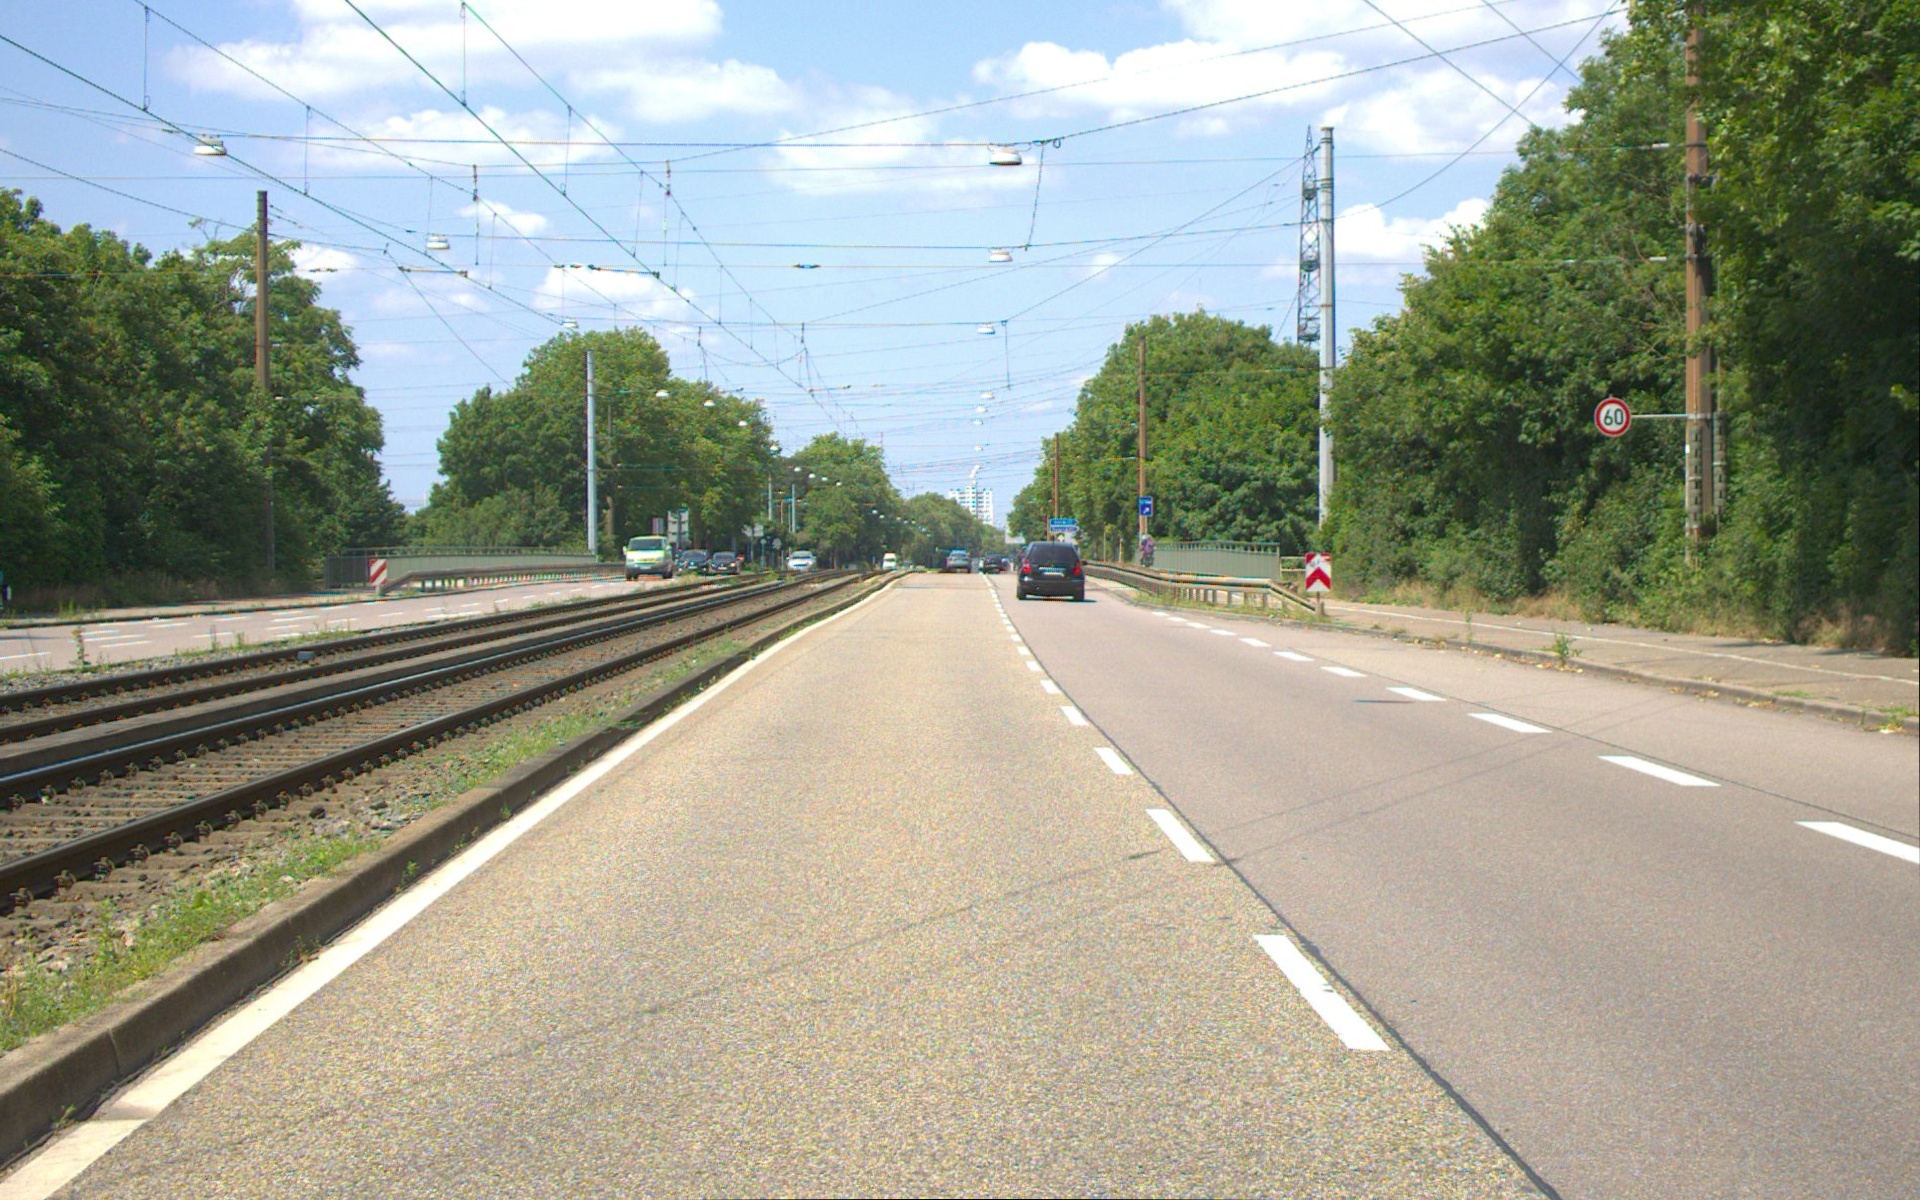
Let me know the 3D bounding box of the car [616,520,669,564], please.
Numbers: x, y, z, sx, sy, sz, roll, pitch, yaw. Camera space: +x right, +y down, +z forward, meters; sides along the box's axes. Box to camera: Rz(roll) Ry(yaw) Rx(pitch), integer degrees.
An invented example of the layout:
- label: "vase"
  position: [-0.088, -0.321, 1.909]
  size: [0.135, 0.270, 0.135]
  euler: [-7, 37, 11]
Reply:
- label: "car"
  position: [-14.140, -2.570, 153.421]
  size: [1.811, 1.918, 5.179]
  euler: [-1, 1, 1]

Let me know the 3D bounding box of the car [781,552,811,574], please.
- label: "car"
  position: [-10.882, -2.474, 228.310]
  size: [1.711, 1.415, 4.624]
  euler: [-1, 1, 1]

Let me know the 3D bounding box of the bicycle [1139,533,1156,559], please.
- label: "bicycle"
  position: [7.533, -2.164, 138.104]
  size: [0.559, 1.021, 1.848]
  euler: [-1, 0, 0]

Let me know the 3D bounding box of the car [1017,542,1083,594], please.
- label: "car"
  position: [2.380, -0.869, 91.778]
  size: [1.586, 1.338, 3.273]
  euler: [-1, 1, -1]

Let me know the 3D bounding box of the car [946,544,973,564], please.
- label: "car"
  position: [-0.026, -3.482, 260.280]
  size: [1.993, 1.525, 4.000]
  euler: [1, 1, 0]

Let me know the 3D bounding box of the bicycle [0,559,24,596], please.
- label: "bicycle"
  position: [-21.450, -0.491, 76.464]
  size: [0.586, 0.816, 2.068]
  euler: [-1, 1, 2]

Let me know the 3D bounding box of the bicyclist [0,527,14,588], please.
- label: "bicyclist"
  position: [-21.440, -0.950, 76.479]
  size: [0.569, 1.363, 0.631]
  euler: [1, 0, 2]

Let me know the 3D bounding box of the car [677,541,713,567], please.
- label: "car"
  position: [-14.101, -2.426, 183.093]
  size: [1.563, 1.343, 3.929]
  euler: [-1, 1, 1]

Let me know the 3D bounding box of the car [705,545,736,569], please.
- label: "car"
  position: [-14.171, -2.573, 203.755]
  size: [1.574, 1.395, 3.938]
  euler: [-1, 1, 0]
